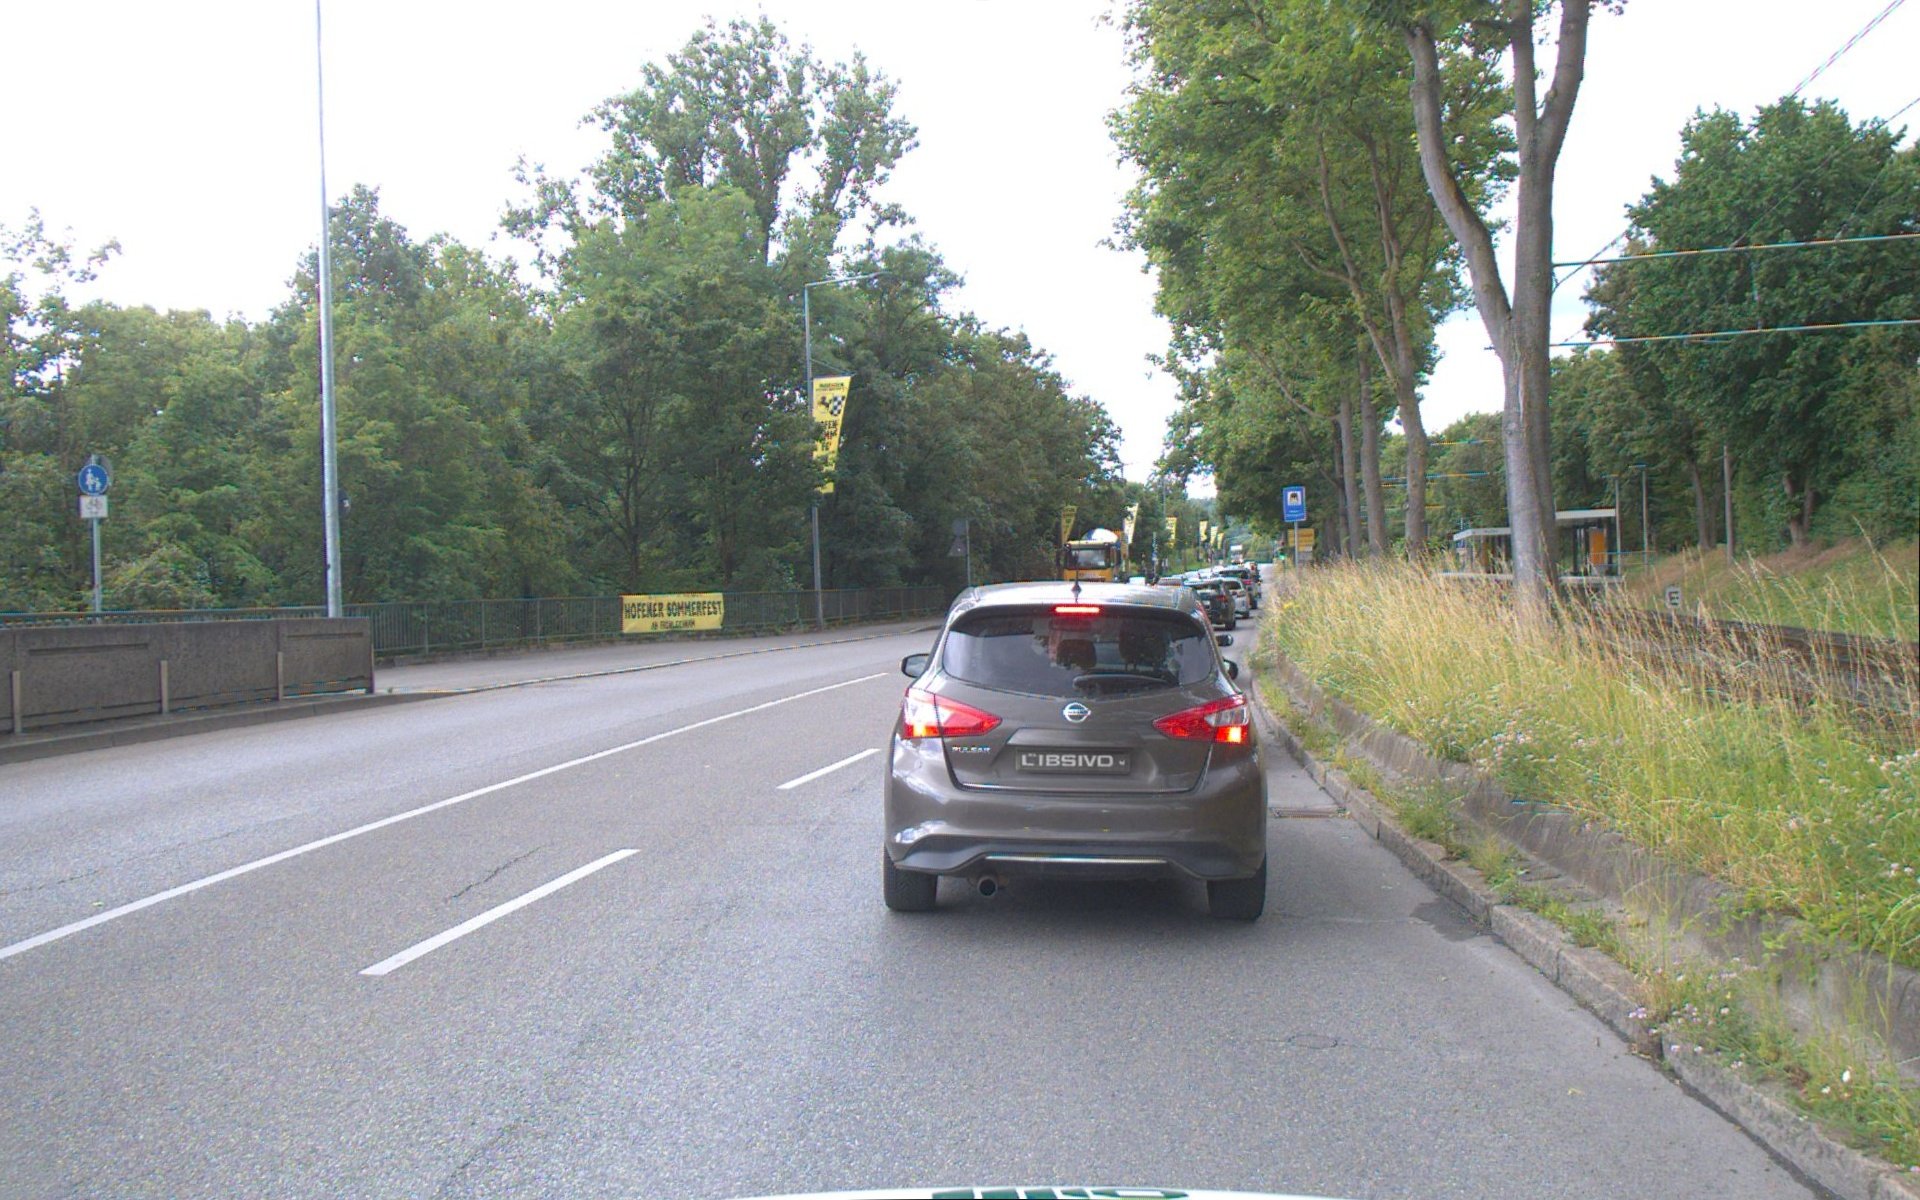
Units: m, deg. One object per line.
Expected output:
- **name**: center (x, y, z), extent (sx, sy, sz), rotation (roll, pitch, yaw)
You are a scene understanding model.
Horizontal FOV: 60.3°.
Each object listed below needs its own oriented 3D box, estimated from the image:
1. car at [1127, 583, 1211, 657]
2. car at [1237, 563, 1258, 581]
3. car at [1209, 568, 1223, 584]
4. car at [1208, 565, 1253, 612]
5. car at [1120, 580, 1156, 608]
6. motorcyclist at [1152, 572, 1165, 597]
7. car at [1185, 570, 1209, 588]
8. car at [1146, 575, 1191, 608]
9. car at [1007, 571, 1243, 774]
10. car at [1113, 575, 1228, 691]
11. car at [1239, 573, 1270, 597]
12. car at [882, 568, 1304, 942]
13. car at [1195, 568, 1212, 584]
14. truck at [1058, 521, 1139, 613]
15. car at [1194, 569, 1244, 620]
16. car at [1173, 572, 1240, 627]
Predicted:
- **car**: center (4.310, 0.383, 33.819), extent (1.468, 1.388, 3.590), rotation (-2, 0, 10)
- **car**: center (27.854, -2.675, 160.238), extent (1.850, 1.682, 4.004), rotation (-1, 0, 11)
- **car**: center (32.056, -3.010, 207.126), extent (1.681, 1.723, 3.728), rotation (-2, -2, 10)
- **car**: center (12.354, -0.546, 75.435), extent (1.850, 2.049, 4.004), rotation (-1, 0, 11)
- **car**: center (9.891, -0.363, 91.759), extent (1.729, 1.505, 4.004), rotation (0, 1, 10)
- **motorcyclist**: center (12.913, -1.004, 107.671), extent (0.729, 1.566, 0.791), rotation (-1, 0, 12)
- **car**: center (21.086, -1.876, 147.045), extent (1.779, 1.488, 4.004), rotation (-2, 0, 11)
- **car**: center (10.213, -0.411, 80.790), extent (1.812, 1.512, 4.424), rotation (-1, -1, 12)
- **car**: center (1.444, 0.599, 15.108), extent (1.853, 1.601, 4.002), rotation (0, -1, 4)
- **car**: center (3.167, 0.462, 24.957), extent (1.544, 1.565, 4.003), rotation (-2, 0, 7)
- **car**: center (19.274, -0.985, 108.135), extent (1.850, 1.470, 3.810), rotation (-1, 0, 11)
- **car**: center (0.729, 0.654, 8.850), extent (1.737, 1.520, 4.002), rotation (0, -1, 5)
- **car**: center (25.734, -2.532, 174.733), extent (1.715, 1.445, 4.003), rotation (-2, -2, 10)
- **truck**: center (6.613, -1.504, 77.493), extent (2.598, 4.007, 10.120), rotation (0, 0, 11)
- **car**: center (9.559, -0.156, 60.940), extent (1.681, 1.723, 4.003), rotation (-2, -2, 10)
- **car**: center (7.332, -0.005, 49.027), extent (1.766, 1.567, 4.003), rotation (0, 0, 11)
